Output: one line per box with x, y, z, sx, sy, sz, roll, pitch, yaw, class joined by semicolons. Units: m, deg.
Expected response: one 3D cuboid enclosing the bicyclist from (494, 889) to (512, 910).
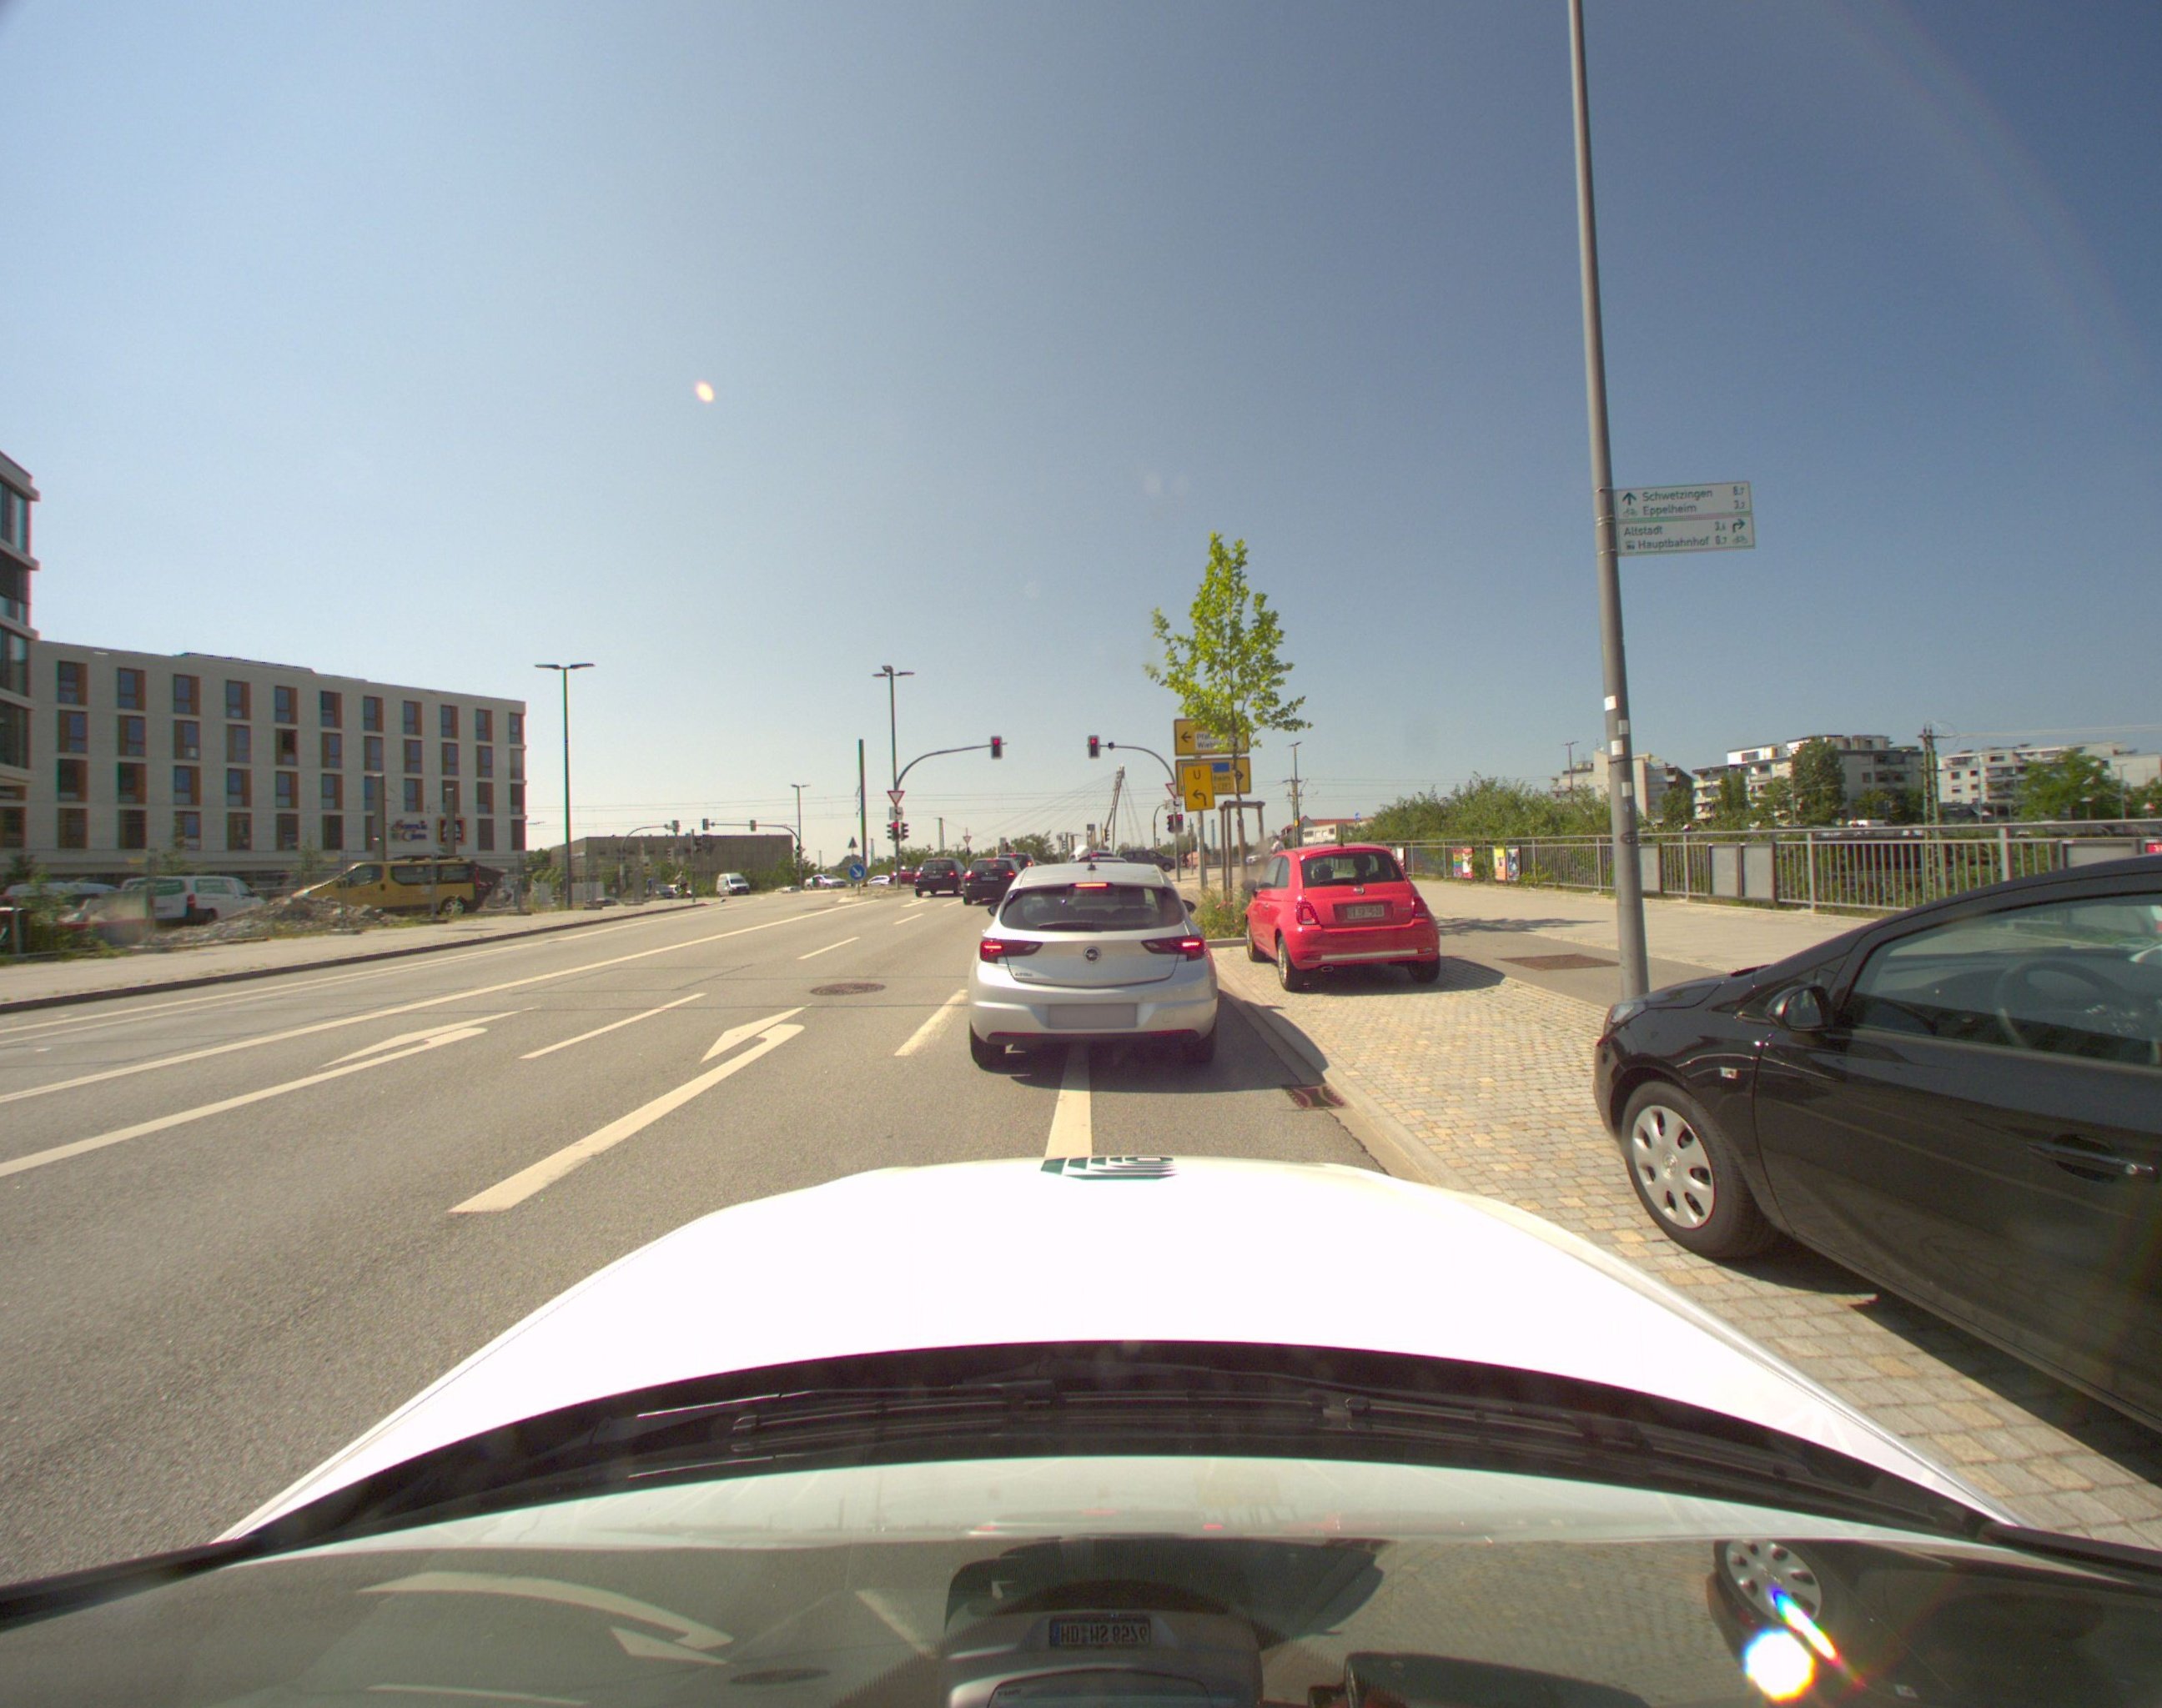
-34.537;2.741;48.658;0.659;1.175;0.726;-5;-1;-19;bicyclist

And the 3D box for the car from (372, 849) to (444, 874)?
-54.323;0.628;65.821;3.990;2.014;1.991;0;-1;-12;car

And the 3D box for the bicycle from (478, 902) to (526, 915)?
-34.629;3.252;48.705;2.255;0.692;0.512;-1;-1;-23;bicycle

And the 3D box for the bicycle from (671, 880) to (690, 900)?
-24.286;2.151;49.358;0.680;1.127;2.340;1;-1;-34;bicycle

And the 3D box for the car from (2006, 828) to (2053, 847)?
106.412;-1.808;91.375;3.995;2.014;1.989;0;-1;-16;car

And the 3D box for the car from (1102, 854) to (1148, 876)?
4.107;1.062;76.542;3.992;2.014;1.990;0;-1;-14;car

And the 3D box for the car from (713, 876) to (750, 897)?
-35.314;3.274;82.199;3.948;2.014;1.619;-1;-1;35;car

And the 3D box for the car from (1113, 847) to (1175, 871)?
4.879;0.406;63.501;4.537;1.783;1.998;-1;-1;-3;car

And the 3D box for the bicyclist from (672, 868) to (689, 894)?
-24.219;1.607;49.269;0.826;1.569;0.938;1;-1;-34;bicyclist

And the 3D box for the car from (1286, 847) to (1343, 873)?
18.849;0.458;65.843;3.999;2.014;1.987;-1;-1;-19;car

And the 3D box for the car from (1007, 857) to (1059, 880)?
-3.704;1.143;63.697;3.827;1.684;1.667;-1;-1;4;car

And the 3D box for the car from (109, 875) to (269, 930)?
-31.060;1.624;28.590;2.003;1.707;4.526;0;-1;-23;car

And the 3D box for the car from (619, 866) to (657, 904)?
-24.175;1.651;44.524;1.679;2.014;3.965;0;-1;-26;car

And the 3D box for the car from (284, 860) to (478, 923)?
-22.640;1.147;26.507;1.974;1.890;4.514;-1;-1;40;car

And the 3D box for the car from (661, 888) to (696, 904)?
-42.254;4.389;85.441;3.453;1.524;1.649;-1;-1;31;car

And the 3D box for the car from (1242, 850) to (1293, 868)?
17.639;0.449;76.952;4.254;1.673;1.989;-1;-1;-16;car

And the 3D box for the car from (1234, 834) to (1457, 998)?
3.002;0.578;10.079;1.662;1.539;3.921;-3;1;4;car

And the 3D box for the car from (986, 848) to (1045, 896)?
-2.500;0.692;31.889;1.797;1.622;3.917;-4;-1;1;car

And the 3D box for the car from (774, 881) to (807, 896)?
-33.230;3.902;93.159;4.156;1.645;1.844;-1;-1;41;car

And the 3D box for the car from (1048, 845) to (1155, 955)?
0.356;0.728;14.275;1.629;1.674;3.745;0;-1;1;car

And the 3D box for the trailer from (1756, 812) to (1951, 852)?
67.489;-1.796;71.101;17.225;3.204;3.723;0;-1;-14;trailer

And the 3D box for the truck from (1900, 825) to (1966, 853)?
90.477;-1.534;86.516;5.860;2.884;2.109;0;-1;-13;truck

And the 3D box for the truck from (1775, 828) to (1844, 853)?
73.071;-1.328;81.724;5.858;2.367;2.109;0;-1;-12;truck

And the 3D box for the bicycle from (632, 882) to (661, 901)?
-29.514;2.554;55.271;2.499;1.134;0.733;-5;2;39;bicycle

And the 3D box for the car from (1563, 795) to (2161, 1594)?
2.884;0.638;1.736;1.576;1.555;3.548;-4;0;1;car

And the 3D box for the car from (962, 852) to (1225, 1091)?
0.127;0.774;7.425;1.685;1.520;4.271;-1;0;1;car

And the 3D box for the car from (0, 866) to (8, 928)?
-36.198;1.401;25.092;2.220;2.056;4.133;0;-1;-28;car

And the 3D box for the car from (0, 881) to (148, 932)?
-33.655;1.682;27.242;1.809;1.508;3.965;0;-1;-27;car

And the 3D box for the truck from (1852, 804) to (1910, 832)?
78.466;-3.500;79.875;4.702;2.541;1.989;0;-1;-16;truck

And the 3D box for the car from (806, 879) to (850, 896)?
-21.783;2.878;70.006;3.666;1.333;1.783;-1;-1;36;car

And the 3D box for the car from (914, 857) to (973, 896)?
-5.209;0.846;31.191;1.581;1.395;3.340;-1;-1;1;car

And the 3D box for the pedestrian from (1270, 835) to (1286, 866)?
12.262;-0.205;50.702;0.744;1.863;0.747;-1;-2;41;pedestrian

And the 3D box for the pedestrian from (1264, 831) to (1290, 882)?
7.224;0.092;30.010;0.755;1.830;0.885;0;-1;1;pedestrian

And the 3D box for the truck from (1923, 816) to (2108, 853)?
87.847;-1.772;76.504;17.857;3.204;3.723;0;-1;-14;truck

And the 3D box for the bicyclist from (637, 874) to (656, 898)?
-29.460;2.150;55.210;0.814;1.560;0.868;-1;-2;40;bicyclist

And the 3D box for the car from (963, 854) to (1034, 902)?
-2.552;0.740;26.033;1.699;1.412;4.001;0;-1;2;car

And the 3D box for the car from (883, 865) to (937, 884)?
-13.714;1.627;65.392;3.953;1.455;1.693;-1;-1;20;car

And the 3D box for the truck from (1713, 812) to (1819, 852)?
57.595;-1.801;68.545;6.478;3.204;3.721;0;-1;-14;truck
